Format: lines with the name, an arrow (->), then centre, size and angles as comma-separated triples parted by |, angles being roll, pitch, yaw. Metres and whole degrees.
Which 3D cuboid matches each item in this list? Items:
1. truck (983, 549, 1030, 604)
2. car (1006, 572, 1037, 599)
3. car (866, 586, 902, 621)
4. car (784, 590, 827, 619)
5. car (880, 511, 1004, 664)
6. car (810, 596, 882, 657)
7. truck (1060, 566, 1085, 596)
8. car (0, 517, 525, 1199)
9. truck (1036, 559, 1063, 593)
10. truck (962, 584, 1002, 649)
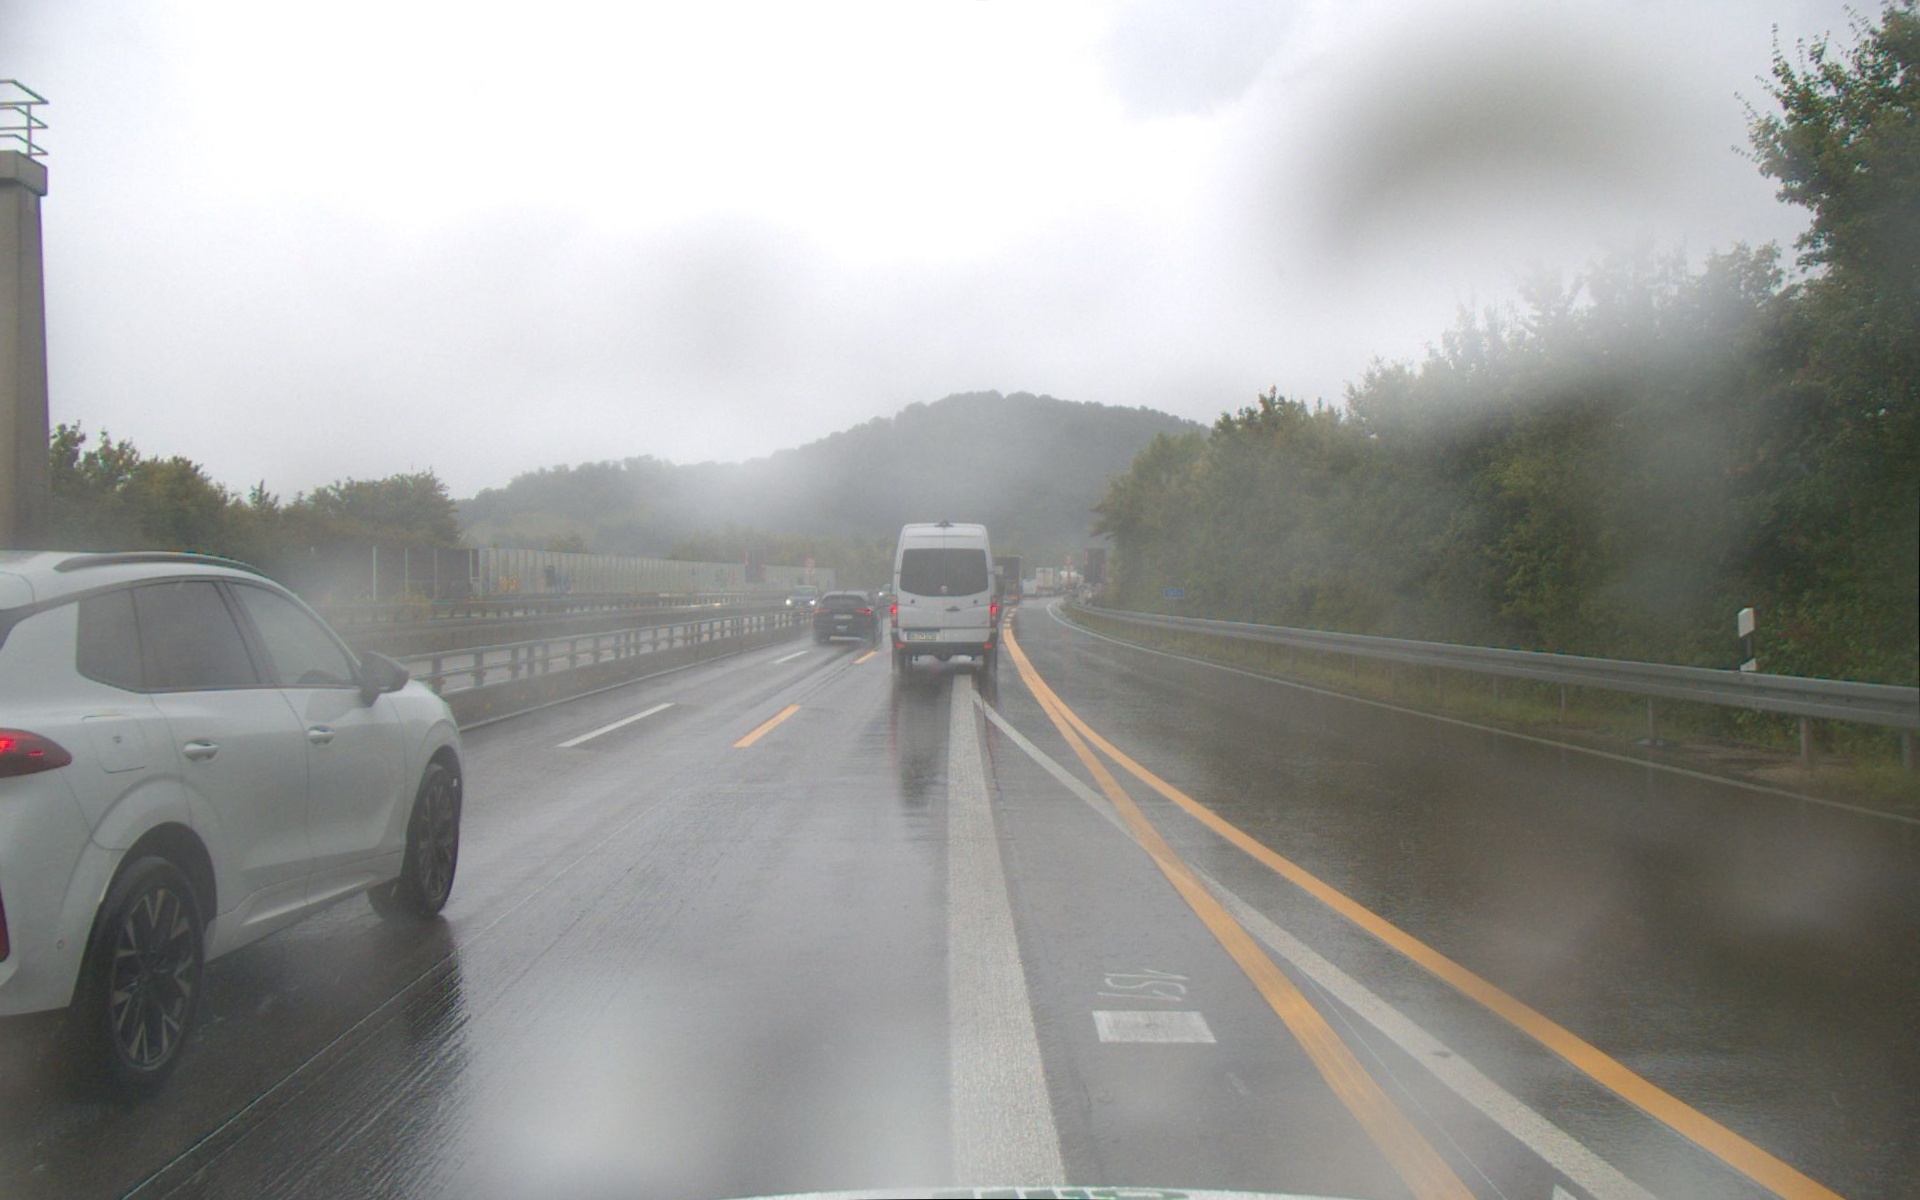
truck -> 4.024, -1.913, 141.099 | 3.506, 4.483, 9.629 | 1, 0, 4
car -> 7.071, -1.603, 189.273 | 2.836, 2.938, 6.416 | 1, 0, 8
car -> -3.649, 0.165, 79.945 | 1.672, 1.656, 3.999 | 1, 0, -2
car -> -8.334, 0.226, 89.700 | 1.809, 1.529, 4.131 | 1, 0, 2
car -> -0.290, -0.219, 31.387 | 2.101, 2.616, 5.390 | 1, 0, 0
car -> -3.198, 0.712, 46.528 | 1.908, 1.588, 3.997 | 1, 0, -4
truck -> 17.713, -2.942, 260.108 | 2.836, 4.483, 9.632 | 1, 0, 10
car -> -3.201, 0.613, 6.101 | 1.953, 1.645, 4.795 | 1, 0, -1
truck -> 12.280, -3.248, 226.314 | 2.971, 4.483, 9.631 | 1, 0, 7
truck -> 1.154, 0.815, 85.653 | 1.952, 3.163, 8.499 | 1, 0, 1
